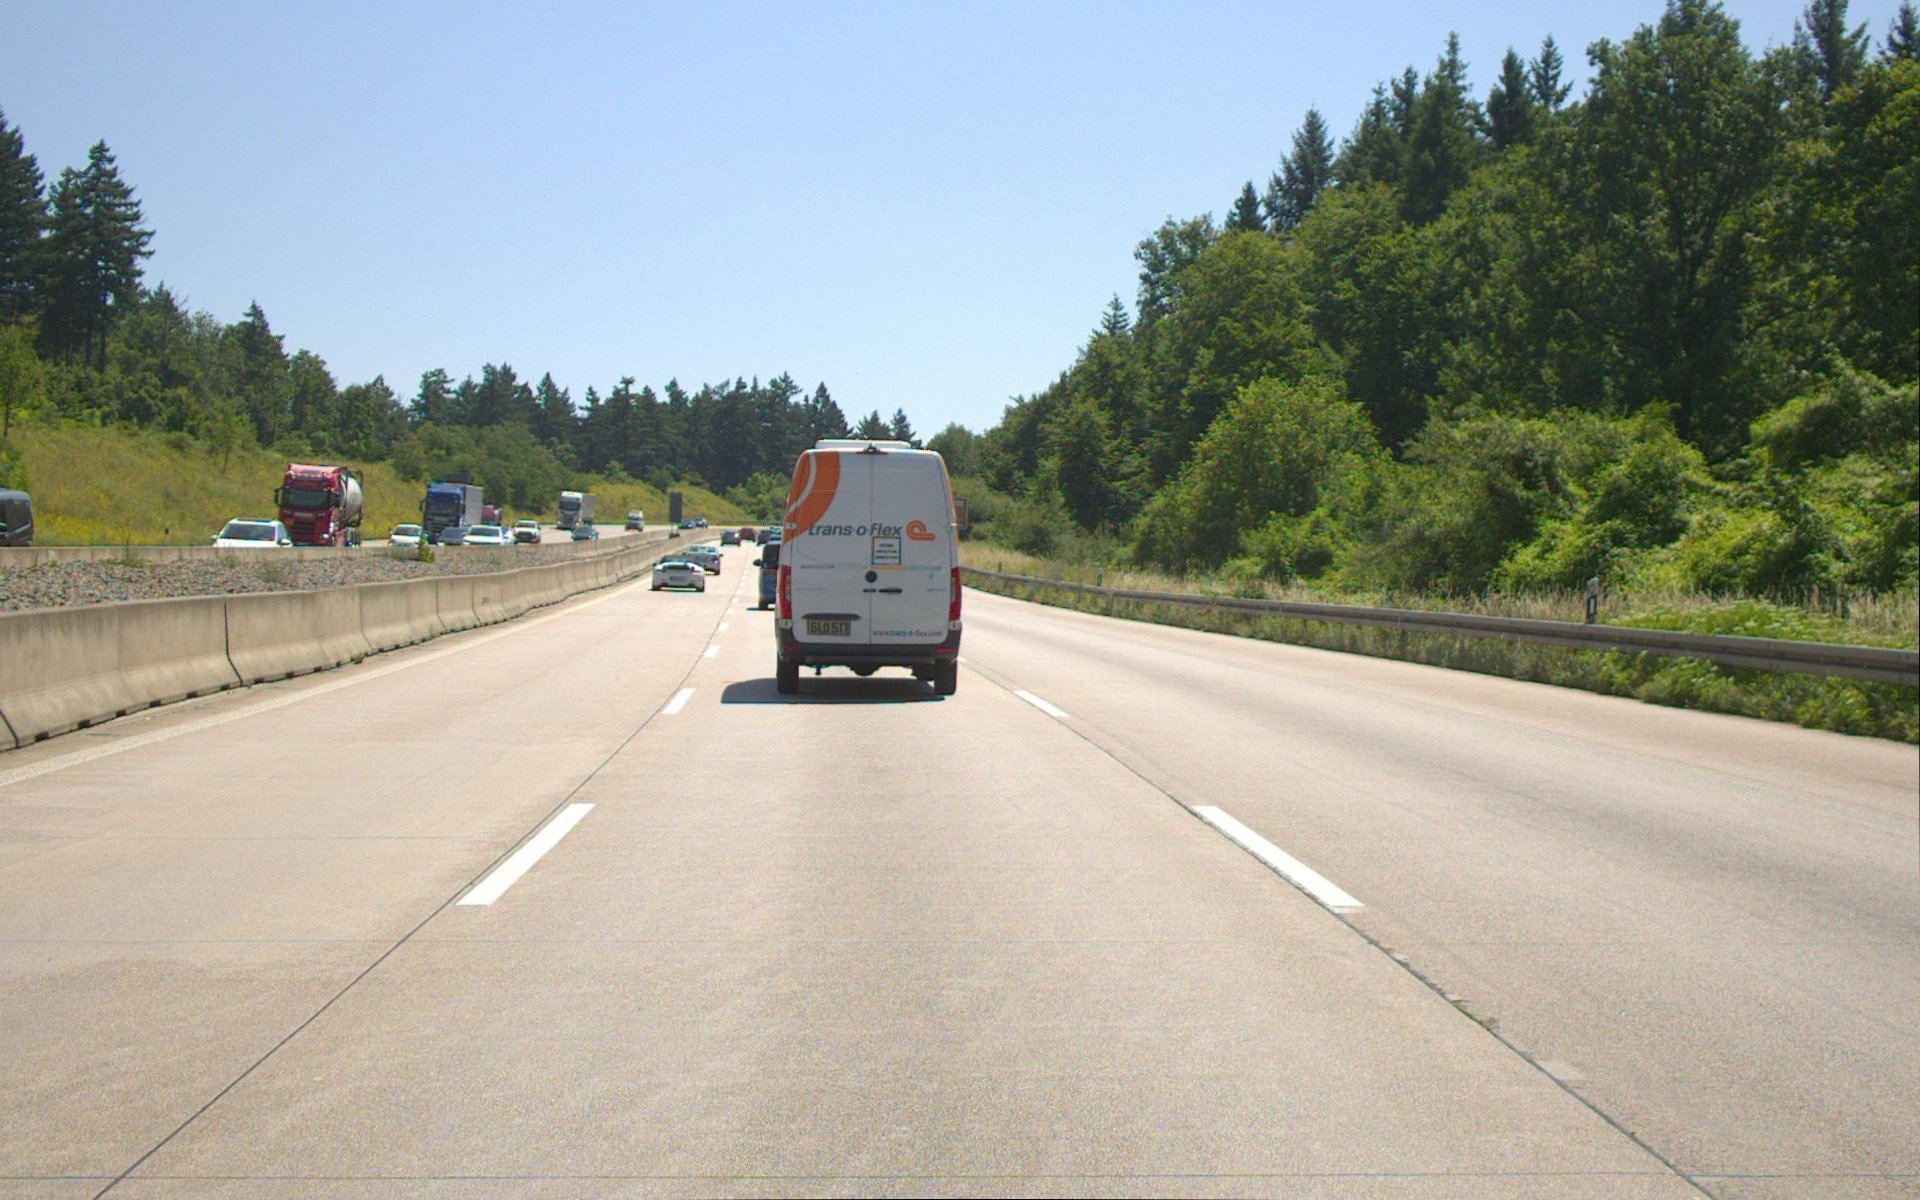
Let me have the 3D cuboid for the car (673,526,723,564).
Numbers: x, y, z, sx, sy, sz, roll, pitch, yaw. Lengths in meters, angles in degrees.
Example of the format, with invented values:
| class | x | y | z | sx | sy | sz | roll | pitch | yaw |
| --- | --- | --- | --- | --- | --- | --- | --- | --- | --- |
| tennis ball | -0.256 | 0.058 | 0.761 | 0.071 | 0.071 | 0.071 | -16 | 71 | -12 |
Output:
| class | x | y | z | sx | sy | sz | roll | pitch | yaw |
| --- | --- | --- | --- | --- | --- | --- | --- | --- | --- |
| car | -12.456 | -2.601 | 163.585 | 1.993 | 1.678 | 4.000 | 3 | 1 | 1 |

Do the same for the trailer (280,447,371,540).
| class | x | y | z | sx | sy | sz | roll | pitch | yaw |
| --- | --- | --- | --- | --- | --- | --- | --- | --- | --- |
| trailer | -30.085 | -4.988 | 163.347 | 2.933 | 4.154 | 9.336 | 3 | 1 | -3 |

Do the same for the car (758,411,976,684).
| class | x | y | z | sx | sy | sz | roll | pitch | yaw |
| --- | --- | --- | --- | --- | --- | --- | --- | --- | --- |
| car | -1.130 | -0.617 | 38.497 | 2.226 | 2.834 | 5.455 | 0 | 2 | -4 |

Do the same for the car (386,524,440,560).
| class | x | y | z | sx | sy | sz | roll | pitch | yaw |
| --- | --- | --- | --- | --- | --- | --- | --- | --- | --- |
| car | -25.658 | -2.718 | 161.437 | 1.993 | 1.577 | 4.180 | 2 | 1 | -3 |

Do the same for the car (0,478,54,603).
| class | x | y | z | sx | sy | sz | roll | pitch | yaw |
| --- | --- | --- | --- | --- | --- | --- | --- | --- | --- |
| car | -16.572 | -0.991 | 57.391 | 1.993 | 2.007 | 4.461 | 0 | 1 | -4 |

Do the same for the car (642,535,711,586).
| class | x | y | z | sx | sy | sz | roll | pitch | yaw |
| --- | --- | --- | --- | --- | --- | --- | --- | --- | --- |
| car | -10.028 | -1.400 | 121.927 | 1.993 | 1.678 | 4.000 | 3 | 1 | 1 |

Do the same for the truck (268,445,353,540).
| class | x | y | z | sx | sy | sz | roll | pitch | yaw |
| --- | --- | --- | --- | --- | --- | --- | --- | --- | --- |
| truck | -29.797 | -4.908 | 157.934 | 2.933 | 4.154 | 5.983 | 3 | 1 | -3 |

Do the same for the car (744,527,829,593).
| class | x | y | z | sx | sy | sz | roll | pitch | yaw |
| --- | --- | --- | --- | --- | --- | --- | --- | --- | --- |
| car | -4.704 | -1.090 | 93.862 | 1.993 | 1.678 | 4.000 | 3 | 1 | 1 |

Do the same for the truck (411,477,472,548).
| class | x | y | z | sx | sy | sz | roll | pitch | yaw |
| --- | --- | --- | --- | --- | --- | --- | --- | --- | --- |
| truck | -34.094 | -5.714 | 226.216 | 3.256 | 4.489 | 6.576 | 3 | 1 | -4 |

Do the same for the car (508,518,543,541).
| class | x | y | z | sx | sy | sz | roll | pitch | yaw |
| --- | --- | --- | --- | --- | --- | --- | --- | --- | --- |
| car | -31.161 | -5.054 | 246.761 | 1.993 | 1.577 | 5.520 | 2 | 1 | -3 |

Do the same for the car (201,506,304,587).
| class | x | y | z | sx | sy | sz | roll | pitch | yaw |
| --- | --- | --- | --- | --- | --- | --- | --- | --- | --- |
| car | -18.036 | -1.374 | 87.839 | 1.993 | 2.007 | 4.461 | 0 | 1 | -4 |

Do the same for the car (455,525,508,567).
| class | x | y | z | sx | sy | sz | roll | pitch | yaw |
| --- | --- | --- | --- | --- | --- | --- | --- | --- | --- |
| car | -22.560 | -2.568 | 162.097 | 1.993 | 1.866 | 4.969 | 2 | 1 | -3 |

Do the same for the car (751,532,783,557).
| class | x | y | z | sx | sy | sz | roll | pitch | yaw |
| --- | --- | --- | --- | --- | --- | --- | --- | --- | --- |
| car | -13.818 | -3.977 | 246.108 | 1.993 | 1.678 | 4.000 | 3 | 1 | 1 |

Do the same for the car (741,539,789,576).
| class | x | y | z | sx | sy | sz | roll | pitch | yaw |
| --- | --- | --- | --- | --- | --- | --- | --- | --- | --- |
| car | -9.521 | -2.084 | 167.850 | 1.993 | 1.678 | 4.000 | 3 | 1 | 1 |
